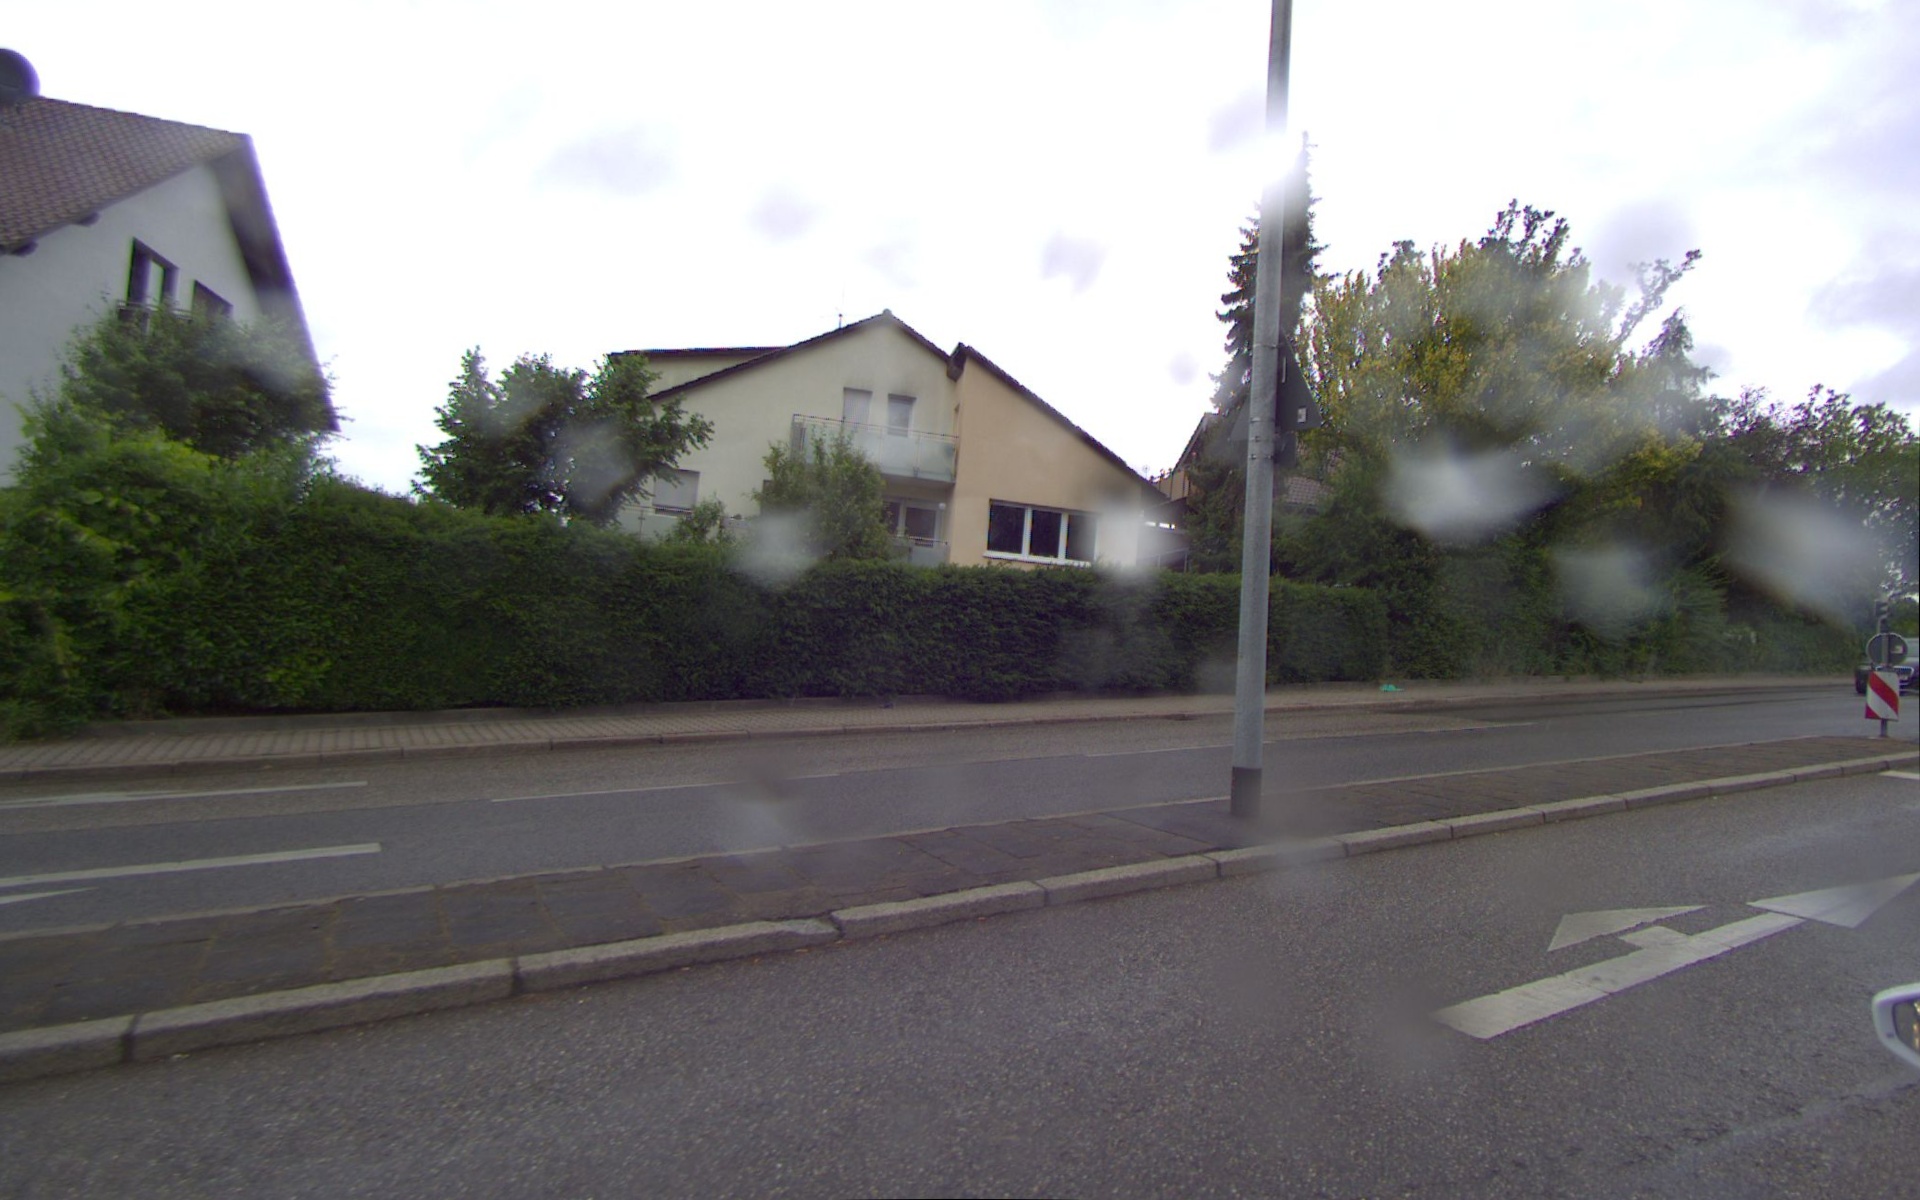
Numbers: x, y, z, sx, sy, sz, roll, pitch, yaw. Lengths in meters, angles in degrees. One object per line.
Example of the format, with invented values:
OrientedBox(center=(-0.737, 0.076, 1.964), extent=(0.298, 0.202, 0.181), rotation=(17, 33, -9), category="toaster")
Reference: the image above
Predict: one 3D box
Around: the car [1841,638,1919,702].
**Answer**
OrientedBox(center=(24.182, 1.739, 25.574), extent=(3.796, 1.512, 1.850), rotation=(1, -1, -36), category="car")
